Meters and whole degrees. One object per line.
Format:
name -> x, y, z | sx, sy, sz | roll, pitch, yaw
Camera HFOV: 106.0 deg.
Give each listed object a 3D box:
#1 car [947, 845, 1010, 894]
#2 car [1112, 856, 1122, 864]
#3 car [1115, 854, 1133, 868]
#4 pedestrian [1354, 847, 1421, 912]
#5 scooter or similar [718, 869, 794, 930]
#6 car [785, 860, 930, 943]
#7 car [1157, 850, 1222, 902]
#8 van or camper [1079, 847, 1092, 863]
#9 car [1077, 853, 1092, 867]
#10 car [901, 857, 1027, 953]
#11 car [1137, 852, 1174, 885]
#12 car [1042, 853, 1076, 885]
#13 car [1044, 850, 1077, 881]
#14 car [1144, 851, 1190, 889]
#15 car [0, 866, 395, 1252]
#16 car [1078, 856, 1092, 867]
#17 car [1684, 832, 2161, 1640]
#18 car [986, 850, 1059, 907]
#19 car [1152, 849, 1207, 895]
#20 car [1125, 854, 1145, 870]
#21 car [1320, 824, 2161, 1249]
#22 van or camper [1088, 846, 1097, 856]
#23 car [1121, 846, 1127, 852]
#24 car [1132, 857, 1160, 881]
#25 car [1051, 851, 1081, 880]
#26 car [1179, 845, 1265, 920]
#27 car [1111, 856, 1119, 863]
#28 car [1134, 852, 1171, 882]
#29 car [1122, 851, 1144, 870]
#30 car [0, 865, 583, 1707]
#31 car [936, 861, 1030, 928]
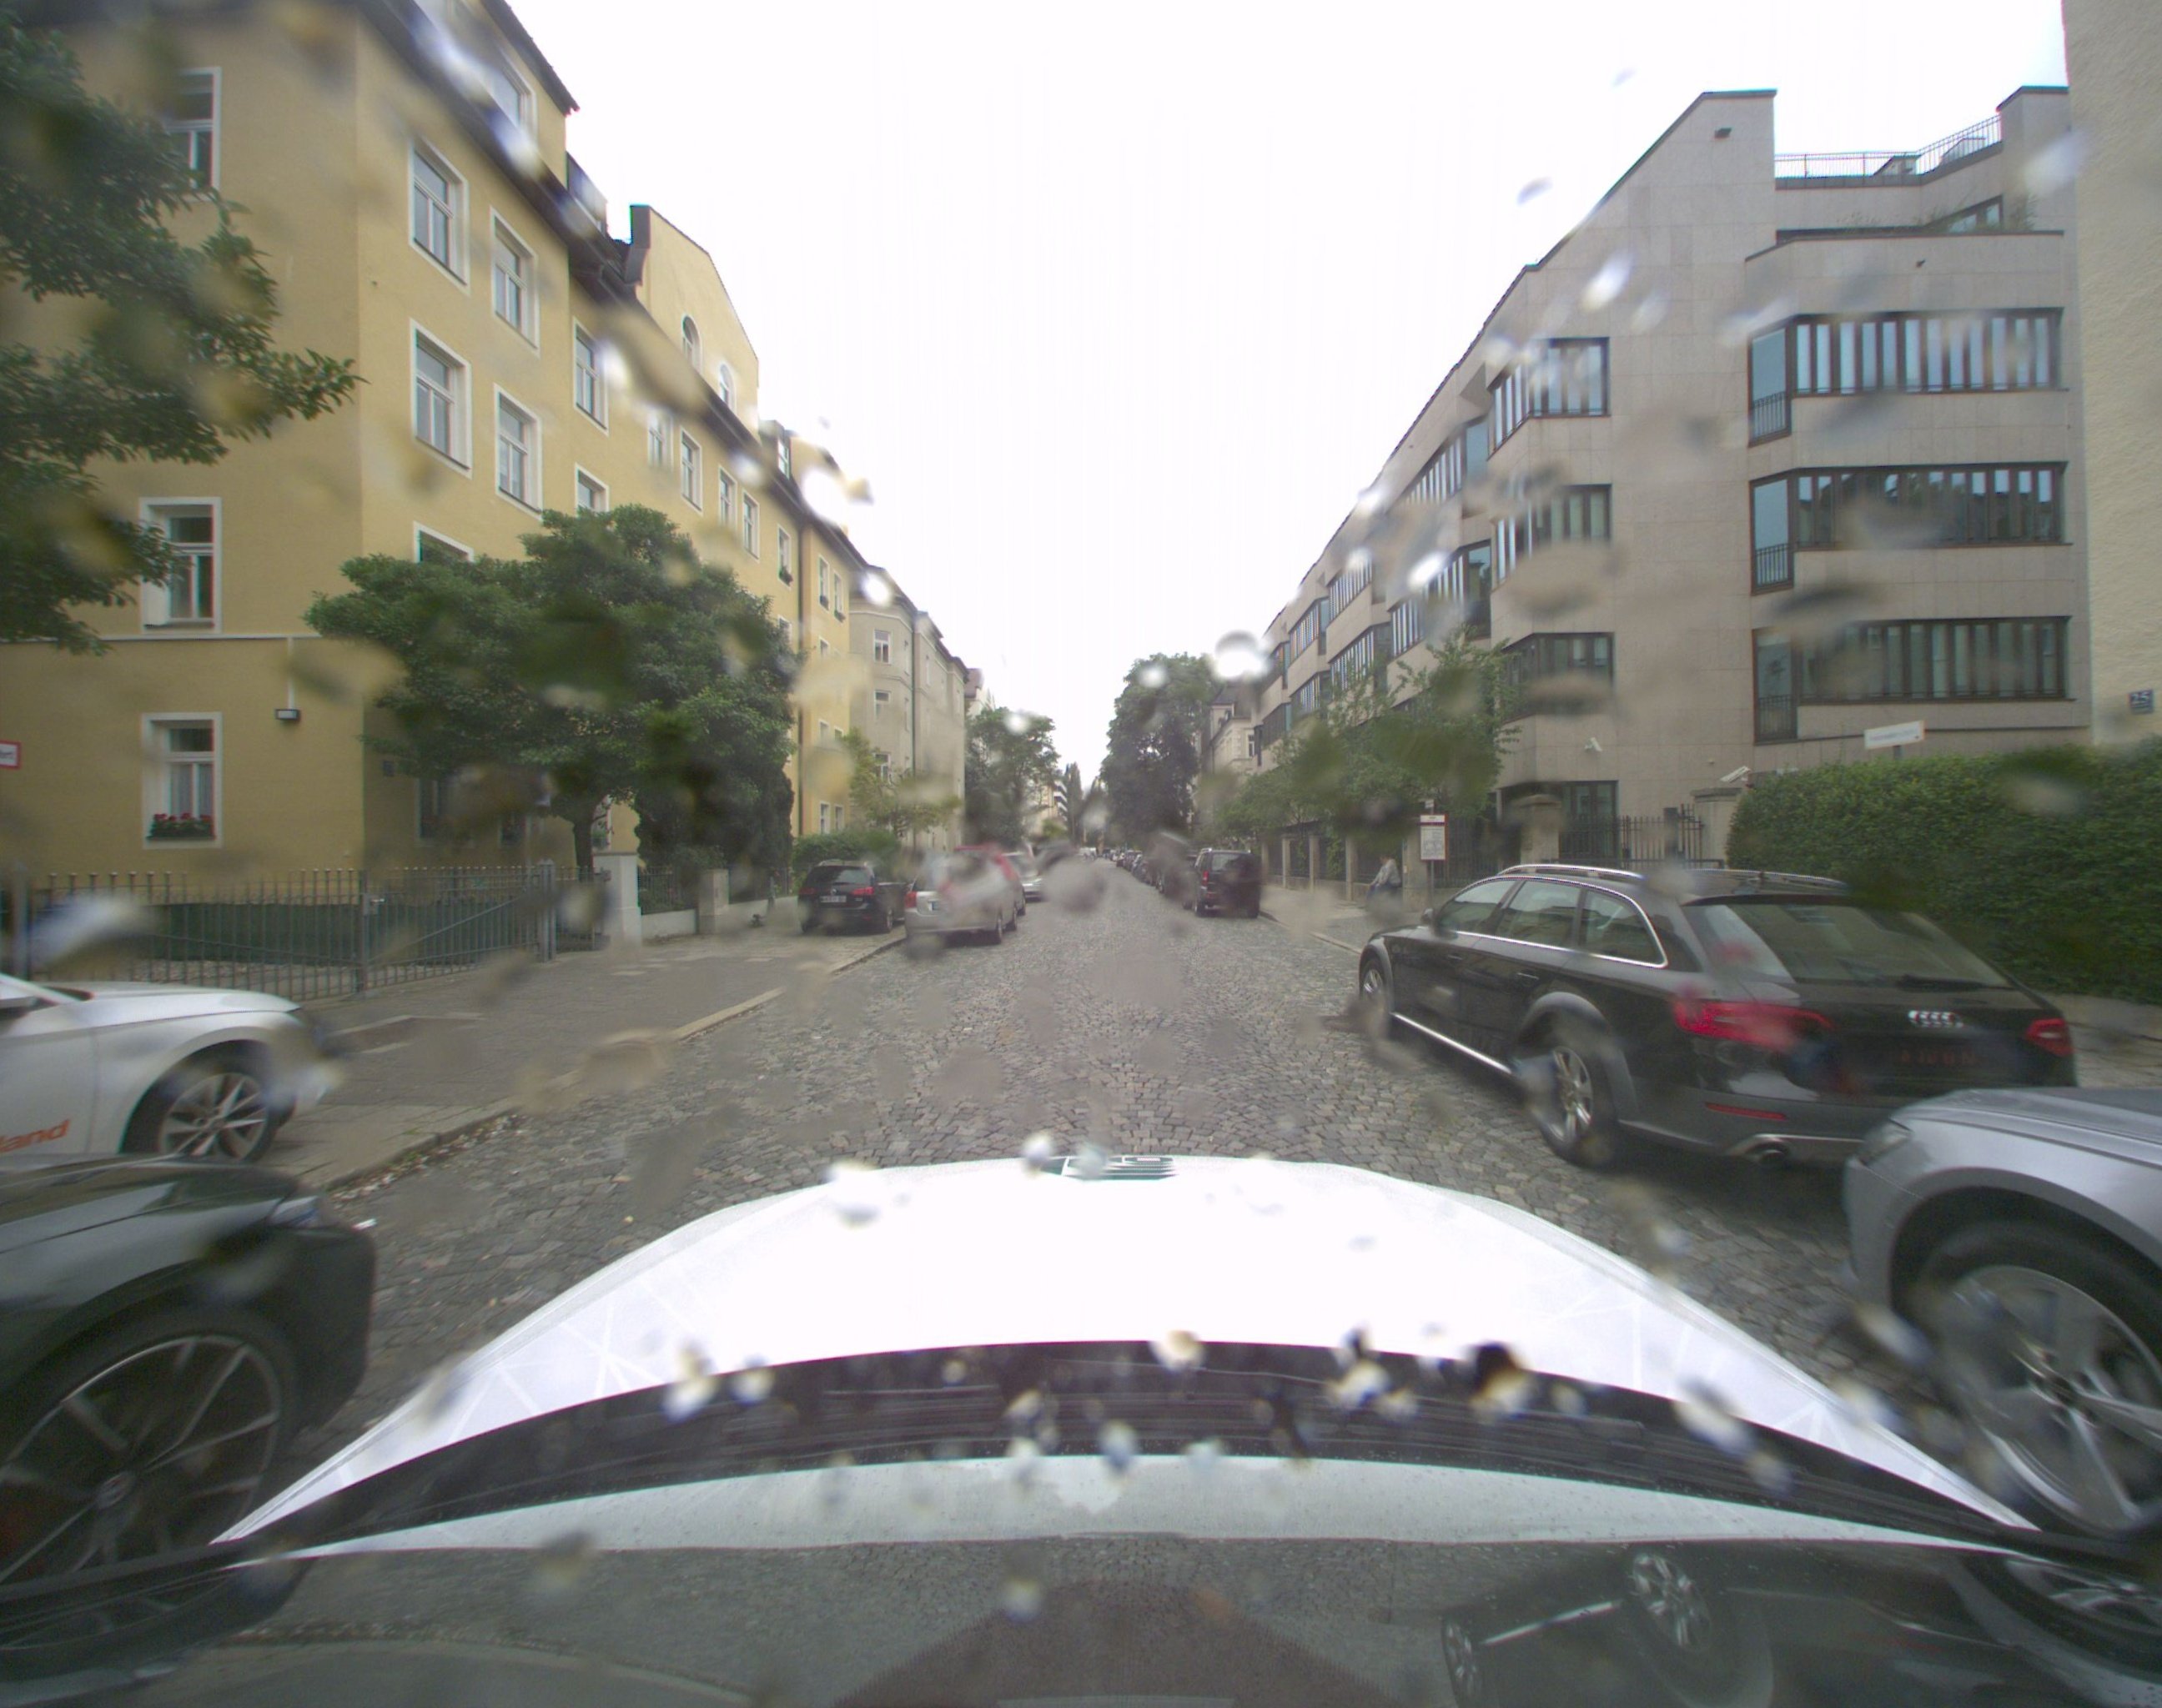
car -> -4.306, 0.613, 35.087 | 1.987, 1.931, 5.330 | 1, 0, 0
car -> 6.985, 1.180, 158.889 | 1.783, 1.520, 4.002 | -1, 0, 2
car -> 5.078, 0.809, 97.239 | 1.867, 1.503, 4.510 | 2, 0, -1
pedestrian -> 7.603, 0.617, 20.239 | 1.211, 1.493, 1.130 | -3, 0, 3
scooter or similar -> -6.942, 0.951, 17.478 | 0.952, 1.200, 1.523 | 2, 0, 2
car -> -4.635, 0.903, 17.657 | 1.709, 1.497, 4.723 | 1, 0, 1
car -> 3.940, 0.766, 30.239 | 1.854, 1.702, 4.814 | 2, 0, 1
van or camper -> 0.769, 0.186, 138.098 | 1.986, 2.652, 4.002 | -4, 0, 2
car -> 0.416, 0.774, 105.208 | 1.867, 1.580, 4.254 | -4, 0, -1
car -> -2.146, 0.877, 16.120 | 1.707, 1.562, 4.391 | -3, 0, 1
car -> 4.215, 0.801, 46.683 | 1.865, 1.735, 4.895 | 1, 0, 3
car -> -1.322, 0.877, 49.018 | 1.860, 1.735, 4.401 | -3, 0, -1
car -> -1.316, 0.743, 54.079 | 1.867, 1.917, 4.827 | -3, 0, 1
car -> 4.325, 0.797, 41.648 | 1.867, 1.735, 4.659 | 3, 0, 1
car -> -4.982, 0.783, 2.476 | 1.769, 1.417, 4.564 | 1, 0, 2
car -> 0.617, 1.147, 123.115 | 1.864, 1.580, 4.213 | 1, 0, 5
car -> 3.032, 0.746, 0.369 | 1.986, 1.552, 4.988 | 1, 0, 2
car -> -1.997, 0.824, 29.492 | 1.998, 1.809, 5.177 | -3, 0, 2
car -> 4.230, 0.743, 35.678 | 1.782, 1.796, 4.509 | 3, 0, 0
car -> 5.225, 0.775, 79.543 | 1.830, 1.490, 4.424 | 2, 0, 2
car -> 3.325, 0.695, 5.585 | 1.986, 1.552, 5.016 | 2, 0, 1
van or camper -> 3.146, -0.792, 222.676 | 2.247, 2.742, 5.100 | 0, 0, 2
car -> 13.900, -1.600, 262.012 | 1.986, 2.014, 4.002 | 0, -1, 2
car -> 4.545, 1.027, 57.660 | 1.865, 1.490, 4.621 | 1, 0, 3
car -> -1.067, 0.806, 60.512 | 1.986, 1.917, 5.177 | -4, 0, 1
car -> 3.665, 0.694, 21.760 | 1.613, 1.751, 3.887 | 2, 0, 0
car -> 7.513, 1.223, 179.610 | 1.783, 1.520, 4.002 | -1, 0, 2
car -> 4.552, 0.804, 52.525 | 1.867, 1.735, 4.746 | 3, 0, -1
car -> 5.415, 0.652, 85.247 | 1.867, 1.928, 5.162 | 2, 0, -1
car -> -2.773, 0.803, 0.396 | 1.807, 1.455, 4.915 | -3, 0, 2
car -> -2.354, 0.932, 20.439 | 1.723, 1.418, 3.937 | -3, 0, 1
